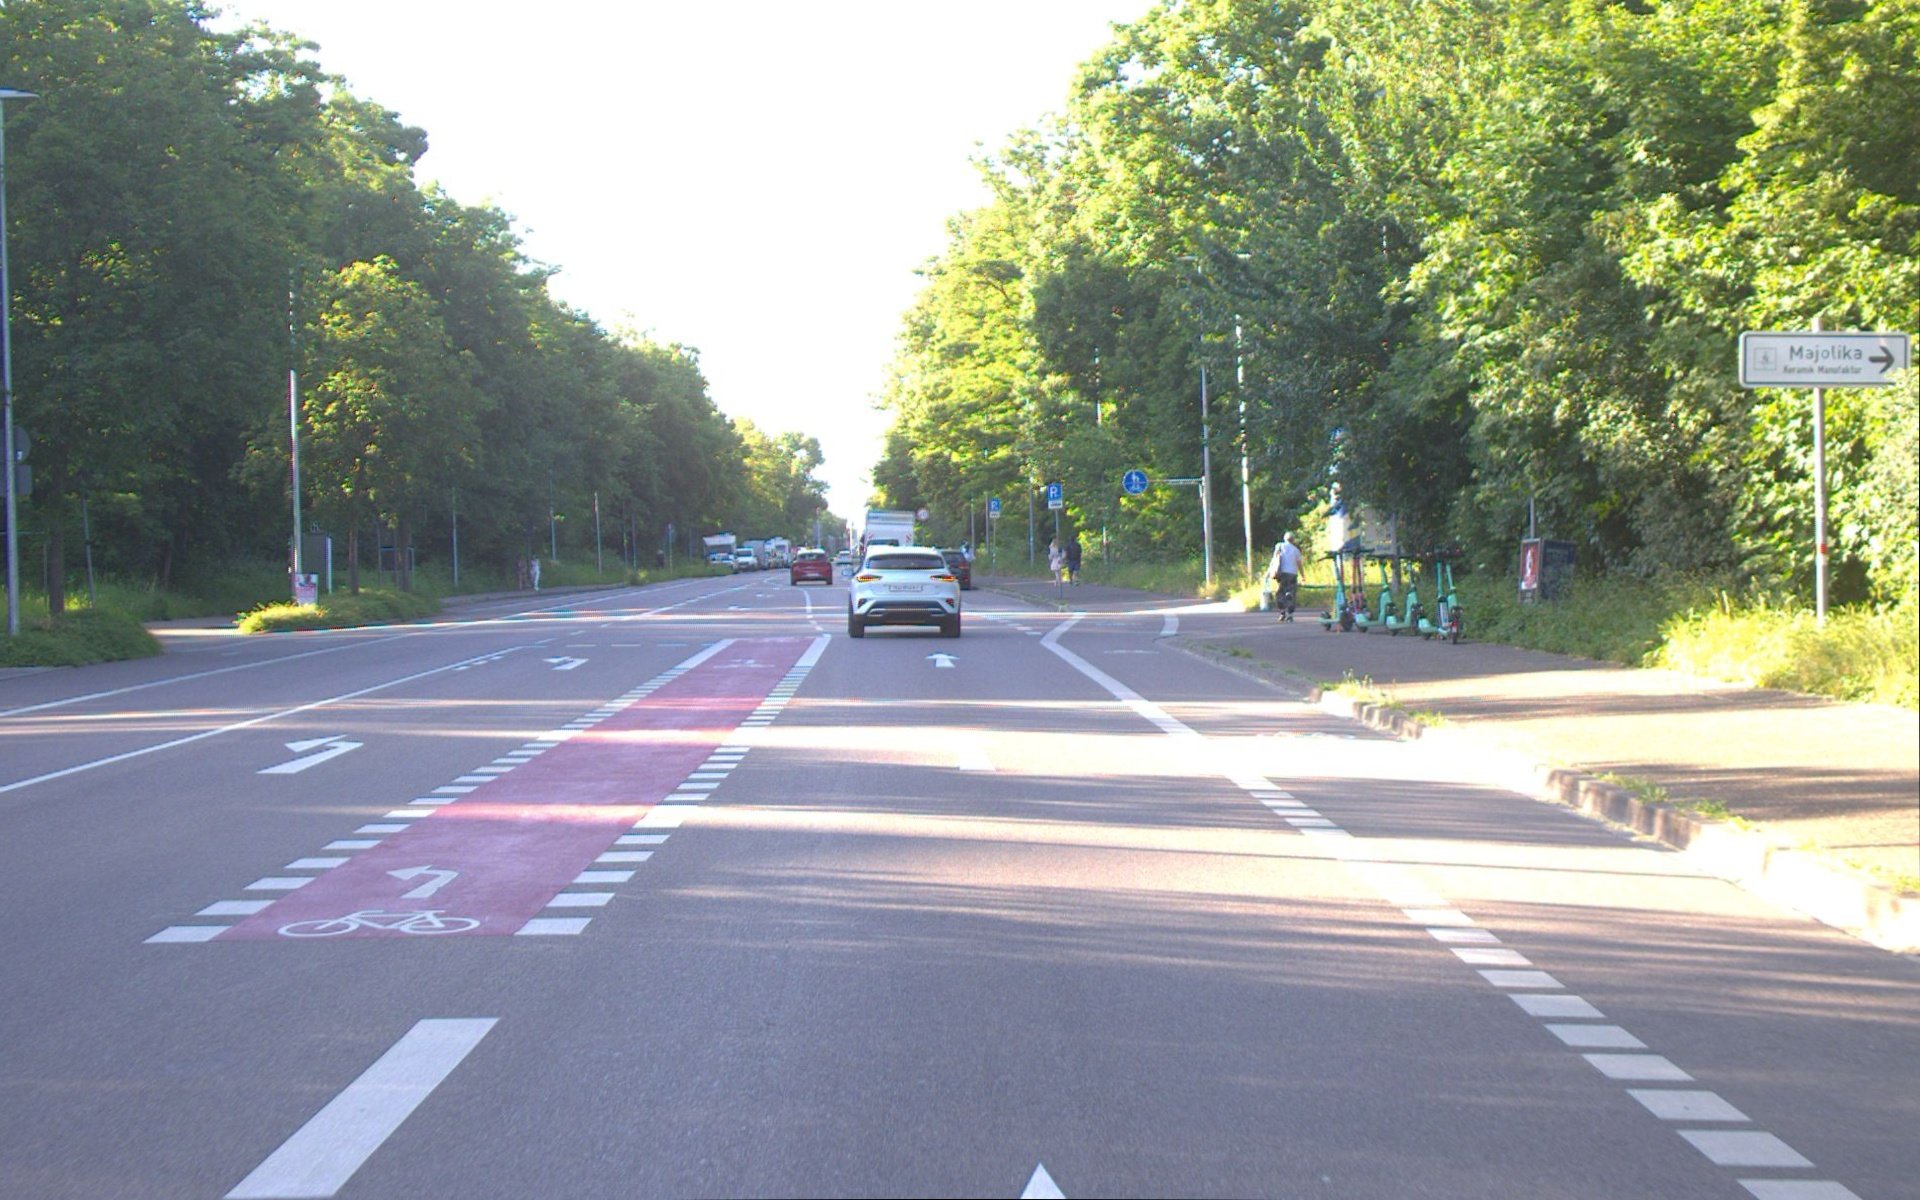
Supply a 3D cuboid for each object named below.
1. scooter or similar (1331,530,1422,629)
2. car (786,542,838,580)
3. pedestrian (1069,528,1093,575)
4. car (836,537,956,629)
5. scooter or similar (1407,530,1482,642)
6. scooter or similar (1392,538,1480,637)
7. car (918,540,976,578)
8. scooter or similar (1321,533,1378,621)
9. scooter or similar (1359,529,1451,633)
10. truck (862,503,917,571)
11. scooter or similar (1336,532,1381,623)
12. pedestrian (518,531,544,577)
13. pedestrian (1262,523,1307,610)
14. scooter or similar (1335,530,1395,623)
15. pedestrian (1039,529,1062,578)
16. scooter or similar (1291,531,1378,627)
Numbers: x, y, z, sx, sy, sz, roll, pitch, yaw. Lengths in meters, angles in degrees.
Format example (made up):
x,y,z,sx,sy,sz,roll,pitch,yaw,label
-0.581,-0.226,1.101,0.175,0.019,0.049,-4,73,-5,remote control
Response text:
x,y,z,sx,sy,sz,roll,pitch,yaw,label
6.123,-0.308,50.619,0.682,1.418,1.682,-2,1,-16,scooter or similar
-6.174,-1.648,143.498,1.993,1.514,4.000,-1,1,0,car
4.111,-1.647,117.097,0.743,1.593,0.798,-1,1,-1,pedestrian
-1.101,-0.306,57.324,1.761,1.454,3.818,0,1,-5,car
6.276,-0.196,44.597,0.682,1.418,1.682,-1,1,-1,scooter or similar
6.423,-0.174,46.453,0.465,1.302,1.481,-2,1,-23,scooter or similar
-0.498,-1.531,126.975,1.993,1.322,4.000,-2,1,-1,car
6.413,-0.389,56.664,0.682,1.418,1.682,-1,1,-1,scooter or similar
6.276,-0.275,48.548,0.682,1.418,1.682,-2,1,-14,scooter or similar
-3.856,-3.417,186.391,2.799,3.558,8.036,0,1,-2,truck
6.391,-0.367,55.125,0.682,1.418,1.245,-1,1,7,scooter or similar
-18.747,-2.014,150.321,0.863,2.007,1.269,-1,1,3,pedestrian
5.944,-0.616,62.987,0.755,1.558,0.802,-1,1,4,pedestrian
6.312,-0.374,53.611,0.682,1.418,1.682,-1,1,-1,scooter or similar
3.091,-1.596,117.100,0.698,1.647,0.876,-1,1,-1,pedestrian
5.689,-0.329,52.296,0.682,1.418,1.682,-2,1,-16,scooter or similar
